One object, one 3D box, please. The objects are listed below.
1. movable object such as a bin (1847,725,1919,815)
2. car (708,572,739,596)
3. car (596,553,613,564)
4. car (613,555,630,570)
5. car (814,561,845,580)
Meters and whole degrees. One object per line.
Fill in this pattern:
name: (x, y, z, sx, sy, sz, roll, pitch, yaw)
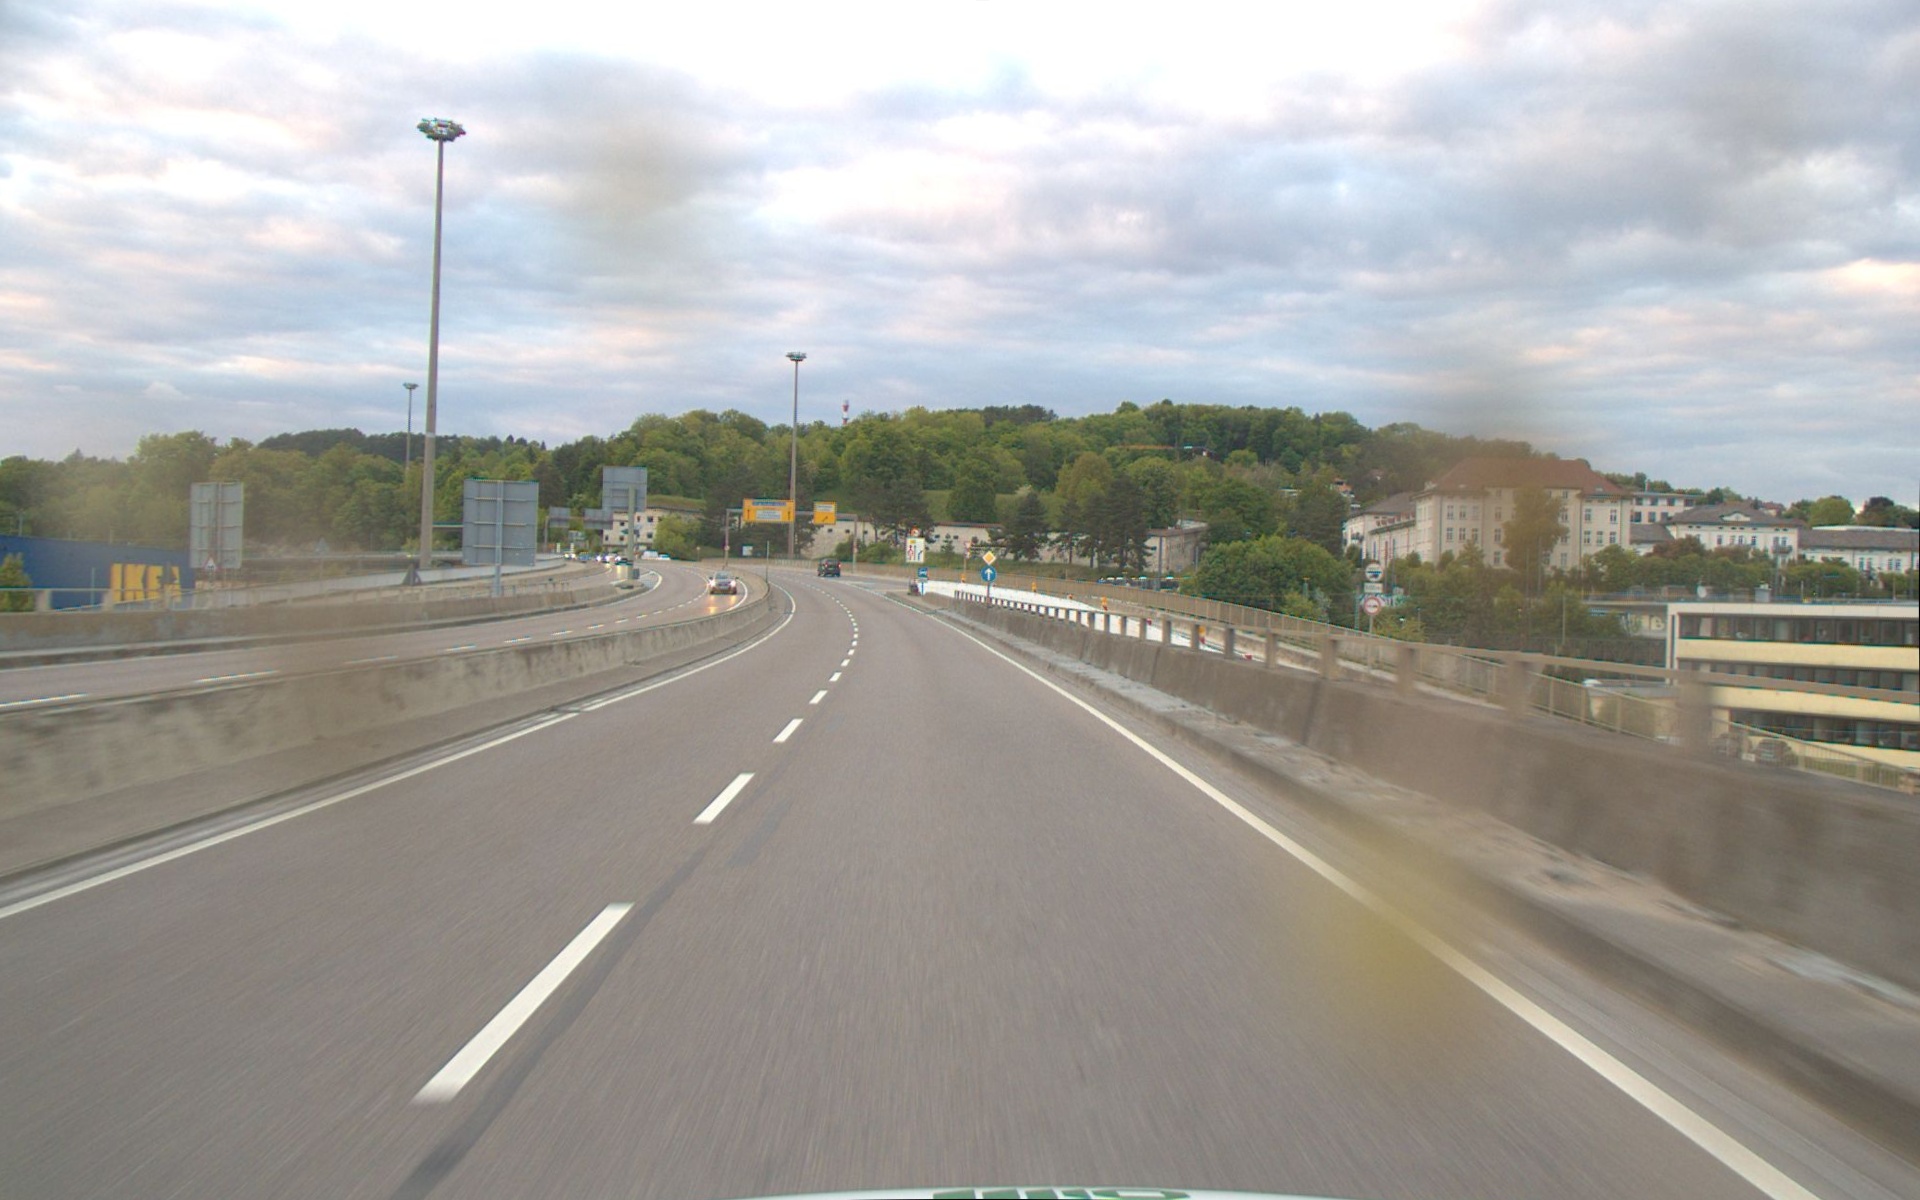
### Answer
movable object such as a bin: (52.763, 9.549, 92.392, 2.729, 4.382, 4.941, 7, 0, -13)
car: (-15.428, -1.030, 108.016, 1.794, 1.506, 4.282, 1, 0, -6)
car: (-51.077, -5.934, 237.596, 1.770, 1.512, 3.817, 1, 0, -21)
car: (-44.894, -4.955, 219.455, 1.611, 1.747, 3.979, -4, 2, -18)
car: (-13.673, -3.101, 173.473, 2.269, 1.794, 4.241, 2, 1, -18)
